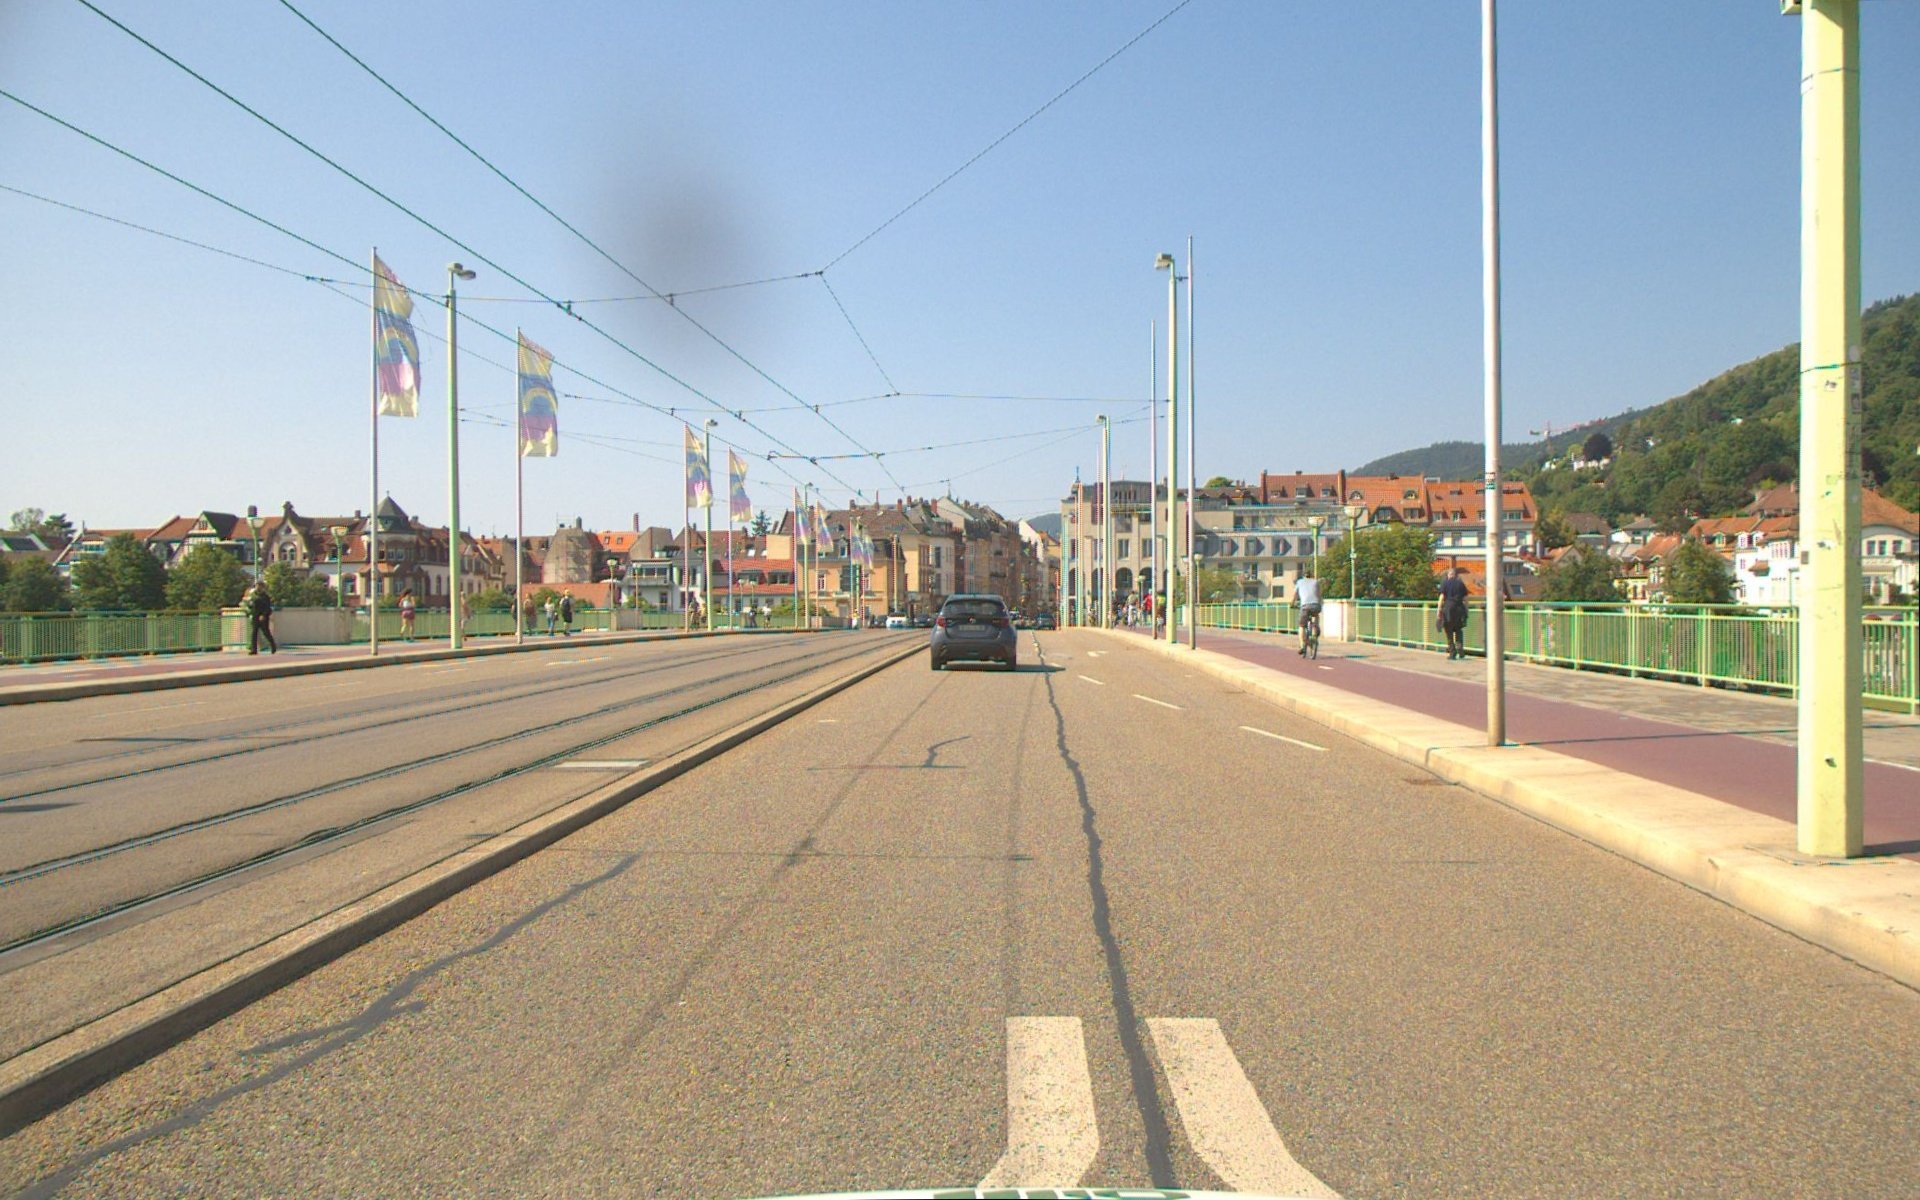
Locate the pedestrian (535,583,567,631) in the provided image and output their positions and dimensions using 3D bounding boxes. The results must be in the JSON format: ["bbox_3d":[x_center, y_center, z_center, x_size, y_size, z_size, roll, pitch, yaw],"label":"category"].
[{"bbox_3d":[-17.561,0.308,71.068,1.075,2.049,1.129,0,0,-1],"label":"pedestrian"}]

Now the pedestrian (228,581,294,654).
[{"bbox_3d":[-17.364,0.420,41.123,1.075,1.789,1.295,0,0,-1],"label":"pedestrian"}]

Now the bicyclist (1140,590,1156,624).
[{"bbox_3d":[9.313,0.368,81.945,0.720,1.664,0.867,0,-1,0],"label":"bicyclist"}]

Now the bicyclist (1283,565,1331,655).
[{"bbox_3d":[7.006,0.190,33.411,0.659,1.774,1.150,-1,0,-2],"label":"bicyclist"}]

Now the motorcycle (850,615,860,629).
[{"bbox_3d":[-9.027,1.875,142.267,0.686,1.129,2.179,0,0,1],"label":"motorcycle"}]

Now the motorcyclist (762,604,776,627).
[{"bbox_3d":[-13.235,1.049,114.445,0.784,1.576,1.069,0,-1,1],"label":"motorcyclist"}]

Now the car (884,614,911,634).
[{"bbox_3d":[-5.319,2.025,140.368,1.955,1.433,4.542,-4,2,-5],"label":"car"}]

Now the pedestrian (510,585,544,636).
[{"bbox_3d":[-17.463,0.424,66.714,1.075,2.049,1.129,0,0,-1],"label":"pedestrian"}]

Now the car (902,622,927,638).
[{"bbox_3d":[-4.909,3.235,179.151,1.951,1.627,4.341,-1,0,9],"label":"car"}]

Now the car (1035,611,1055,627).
[{"bbox_3d":[8.293,1.857,161.297,1.766,1.494,4.002,-2,-1,4],"label":"car"}]

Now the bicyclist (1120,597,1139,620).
[{"bbox_3d":[7.667,0.379,74.786,0.720,1.048,1.175,0,0,0],"label":"bicyclist"}]

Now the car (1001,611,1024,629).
[{"bbox_3d":[4.636,1.801,146.685,1.767,1.494,3.999,-2,-1,-1],"label":"car"}]

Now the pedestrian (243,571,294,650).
[{"bbox_3d":[-18.172,0.277,43.491,0.880,2.049,1.042,0,0,-1],"label":"pedestrian"}]

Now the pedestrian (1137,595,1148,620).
[{"bbox_3d":[11.888,0.495,107.818,0.587,1.614,0.867,0,-1,0],"label":"pedestrian"}]

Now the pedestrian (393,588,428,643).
[{"bbox_3d":[-17.875,0.510,53.793,0.739,1.752,1.175,0,-1,0],"label":"pedestrian"}]

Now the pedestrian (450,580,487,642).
[{"bbox_3d":[-16.535,0.372,55.689,0.949,2.049,1.101,0,0,-3],"label":"pedestrian"}]

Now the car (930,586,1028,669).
[{"bbox_3d":[0.355,0.521,34.122,1.871,1.567,4.000,-1,0,0],"label":"car"}]

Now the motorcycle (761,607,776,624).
[{"bbox_3d":[-13.234,1.064,114.432,0.686,1.129,2.179,0,0,1],"label":"motorcycle"}]

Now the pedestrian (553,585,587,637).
[{"bbox_3d":[-15.772,0.443,66.871,1.075,2.049,1.295,0,0,-1],"label":"pedestrian"}]

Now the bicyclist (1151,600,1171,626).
[{"bbox_3d":[8.121,0.518,66.854,0.653,1.063,0.979,0,0,-4],"label":"bicyclist"}]

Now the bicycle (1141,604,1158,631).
[{"bbox_3d":[9.377,0.856,81.803,0.605,1.293,2.216,0,0,0],"label":"bicycle"}]

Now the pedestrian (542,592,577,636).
[{"bbox_3d":[-16.102,0.567,66.553,1.075,1.759,1.295,0,0,-1],"label":"pedestrian"}]

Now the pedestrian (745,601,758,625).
[{"bbox_3d":[-15.507,0.992,123.004,0.813,1.752,1.094,0,-1,2],"label":"pedestrian"}]

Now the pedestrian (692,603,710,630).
[{"bbox_3d":[-16.321,1.025,104.317,0.880,1.687,1.029,0,-1,4],"label":"pedestrian"}]

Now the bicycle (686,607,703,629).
[{"bbox_3d":[-14.486,0.980,90.354,0.576,1.116,2.112,0,0,0],"label":"bicycle"}]

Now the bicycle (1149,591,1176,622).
[{"bbox_3d":[8.147,0.258,66.570,0.681,1.214,2.078,-1,-1,-3],"label":"bicycle"}]

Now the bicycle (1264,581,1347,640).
[{"bbox_3d":[6.997,0.195,33.716,0.776,1.115,3.743,-1,0,-2],"label":"bicycle"}]

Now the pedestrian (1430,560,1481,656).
[{"bbox_3d":[9.356,0.140,31.256,0.641,1.774,0.978,0,1,-3],"label":"pedestrian"}]

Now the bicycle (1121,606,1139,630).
[{"bbox_3d":[7.669,0.823,74.791,0.605,1.056,2.051,0,0,0],"label":"bicycle"}]

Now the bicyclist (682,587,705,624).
[{"bbox_3d":[-14.574,0.287,90.549,1.075,1.995,1.129,0,0,-1],"label":"bicyclist"}]
